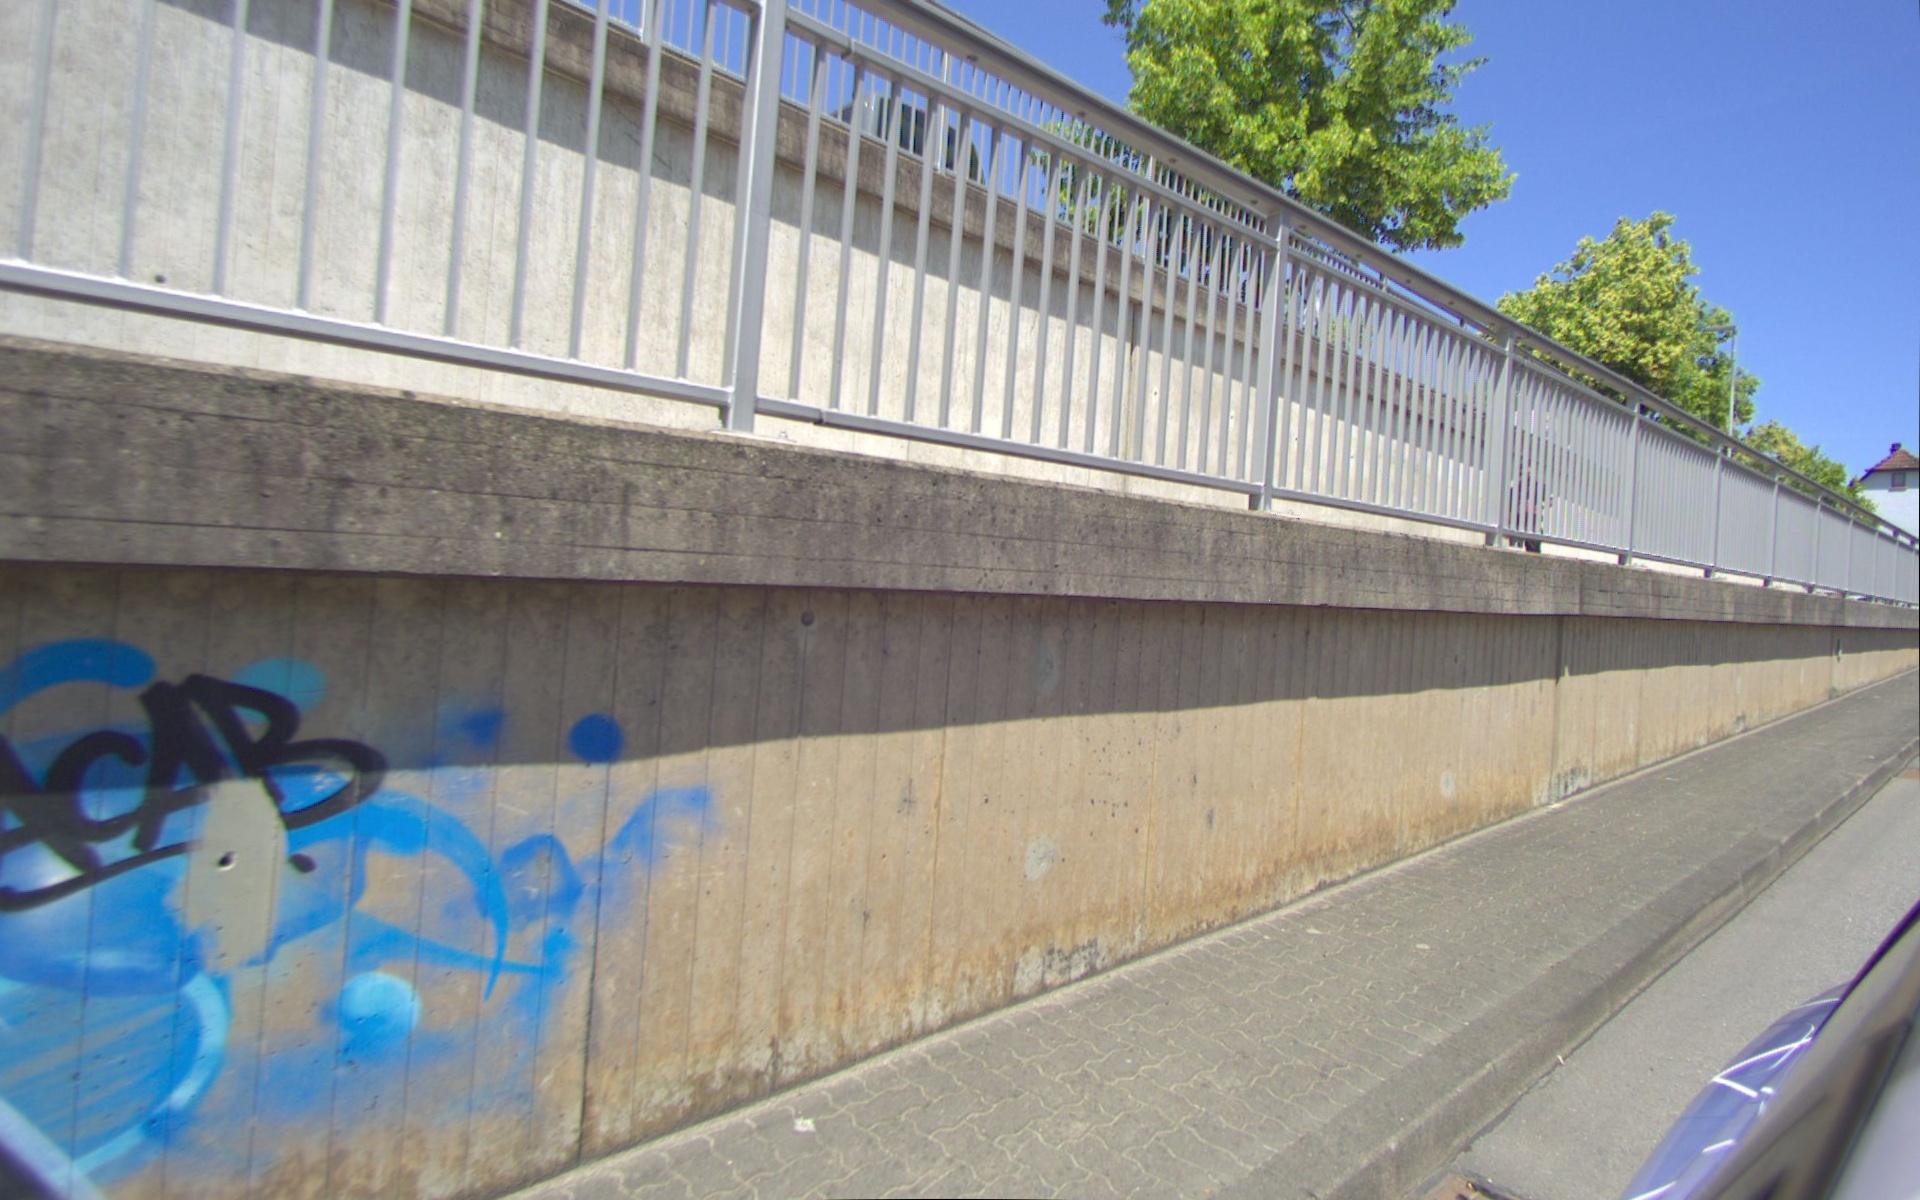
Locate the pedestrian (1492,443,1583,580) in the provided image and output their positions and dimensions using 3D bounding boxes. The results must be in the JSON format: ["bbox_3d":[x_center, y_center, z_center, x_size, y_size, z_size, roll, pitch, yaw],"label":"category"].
[{"bbox_3d":[7.987,-1.196,14.003,0.774,1.804,0.838,1,1,-40],"label":"pedestrian"}]

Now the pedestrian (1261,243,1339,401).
[{"bbox_3d":[4.389,-3.555,13.068,0.583,1.802,0.674,4,-1,-39],"label":"pedestrian"}]
